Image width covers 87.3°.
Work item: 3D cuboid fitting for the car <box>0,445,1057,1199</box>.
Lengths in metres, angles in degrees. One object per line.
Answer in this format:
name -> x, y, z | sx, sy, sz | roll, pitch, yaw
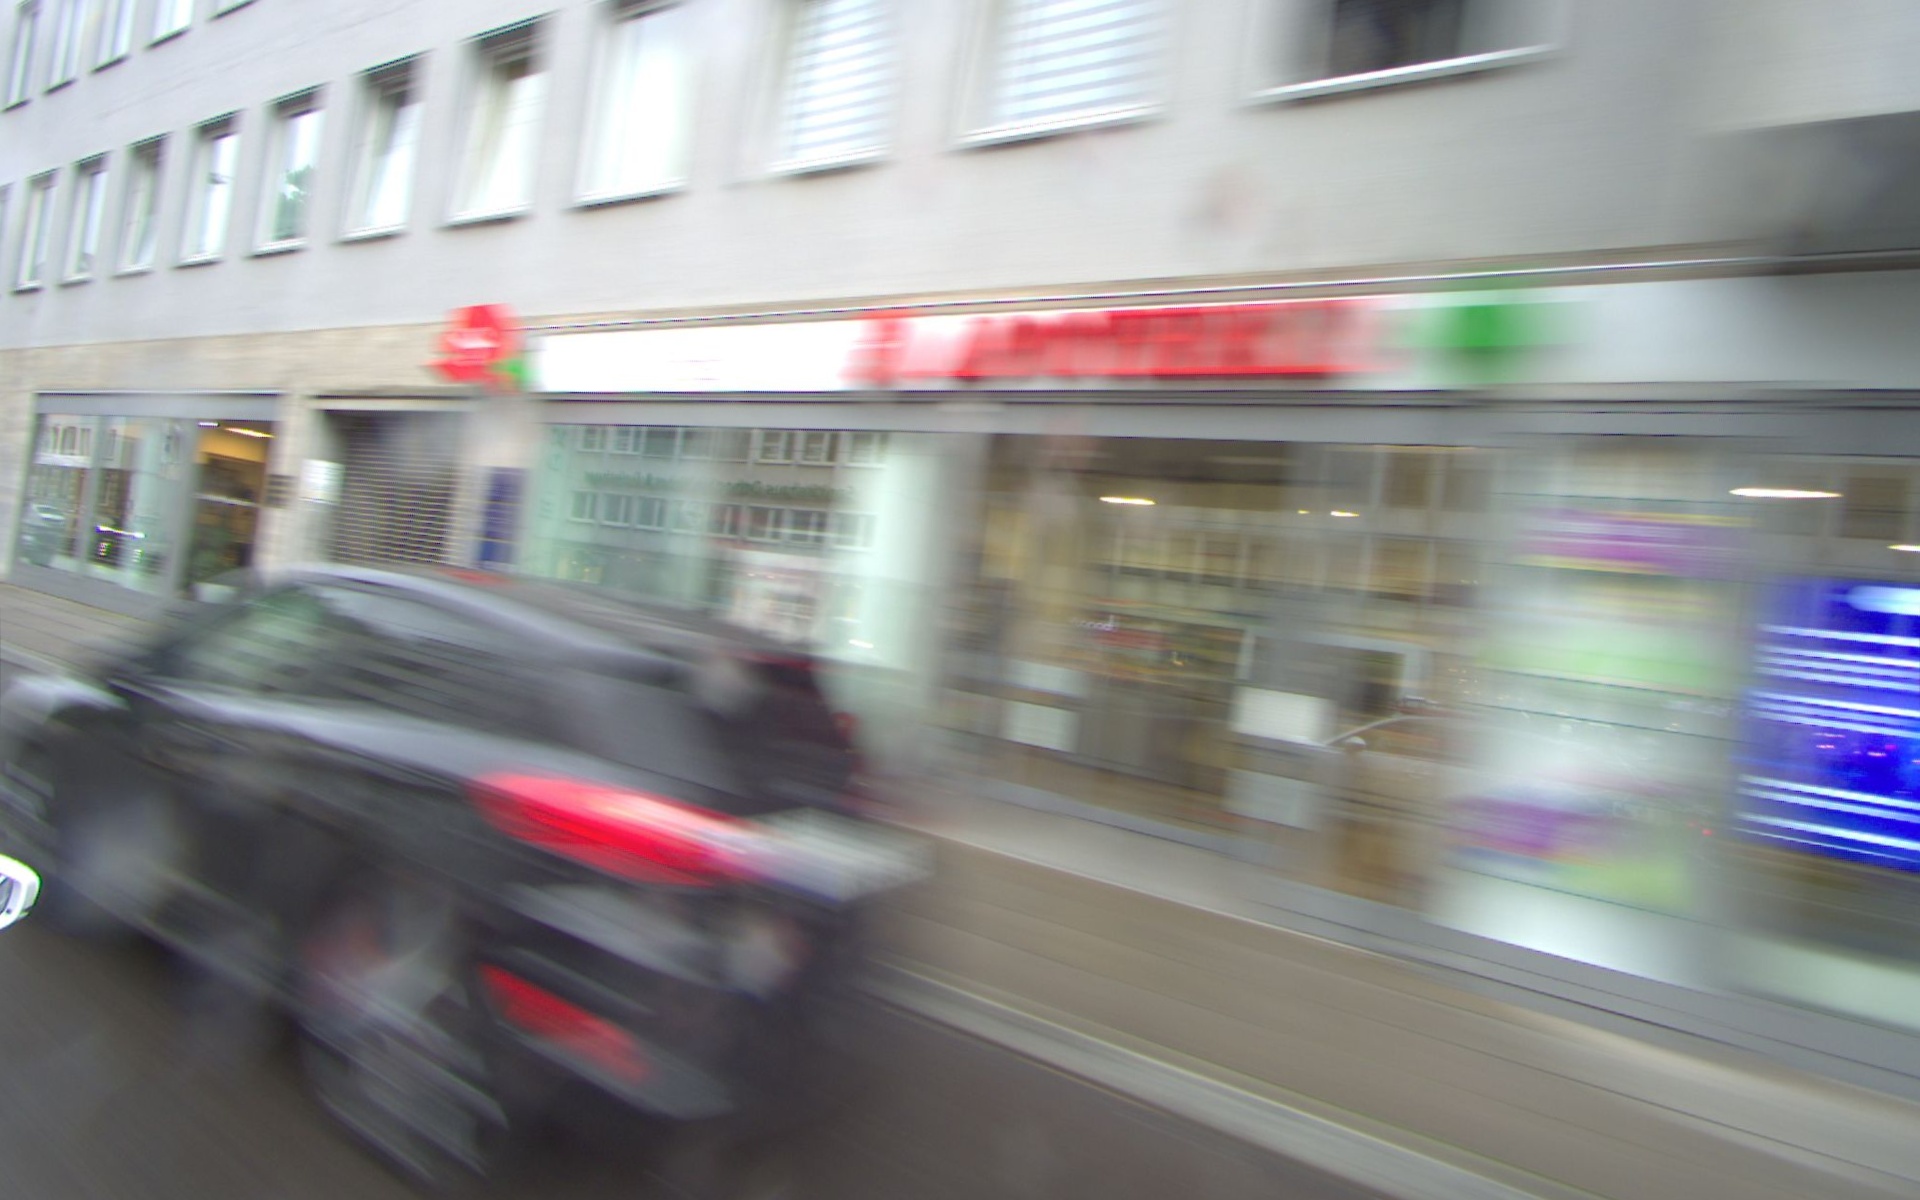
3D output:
car -> -2.020, 0.427, 3.888 | 4.201, 1.612, 1.997 | 6, -2, 32
